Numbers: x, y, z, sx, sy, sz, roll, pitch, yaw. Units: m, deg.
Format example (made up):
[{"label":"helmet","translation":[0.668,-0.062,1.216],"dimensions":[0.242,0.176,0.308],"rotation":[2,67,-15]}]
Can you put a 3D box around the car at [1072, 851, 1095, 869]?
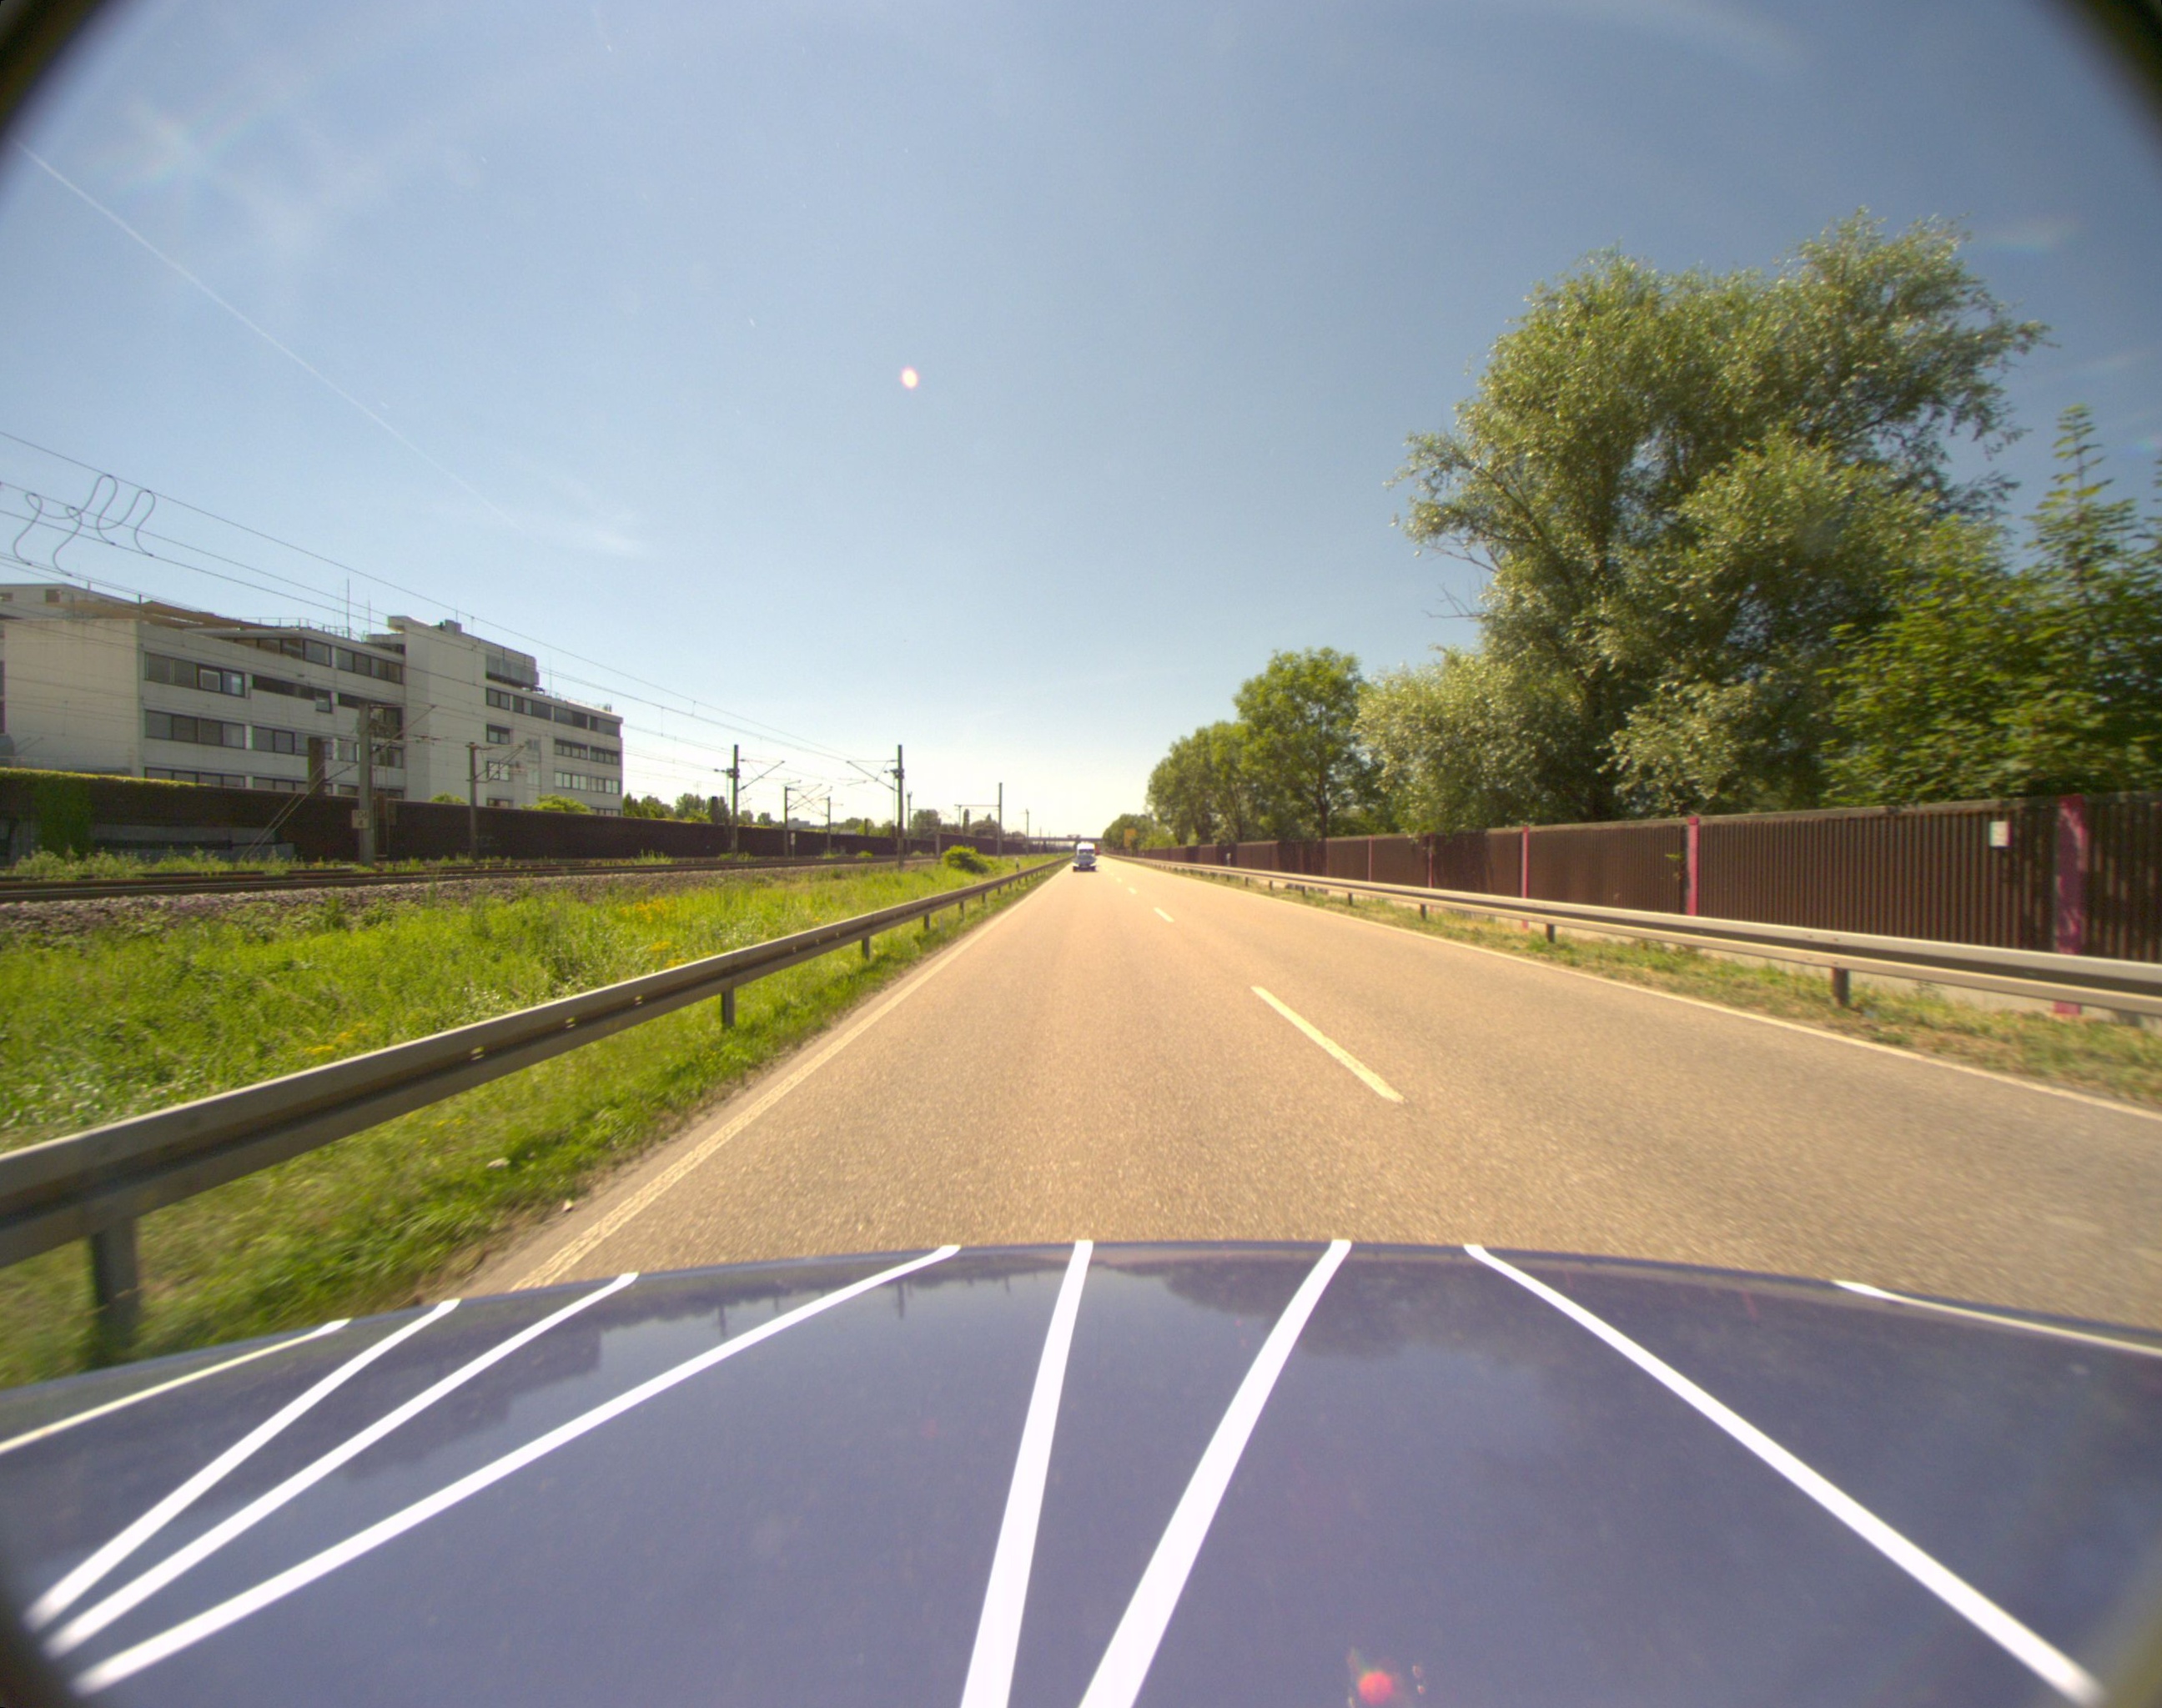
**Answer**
[{"label":"car","translation":[0.242,0.452,61.775],"dimensions":[1.758,1.313,4.000],"rotation":[-2,1,0]}]

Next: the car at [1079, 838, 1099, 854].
[{"label":"car","translation":[0.876,-0.871,85.107],"dimensions":[2.161,1.702,4.492],"rotation":[-2,1,0]}]
